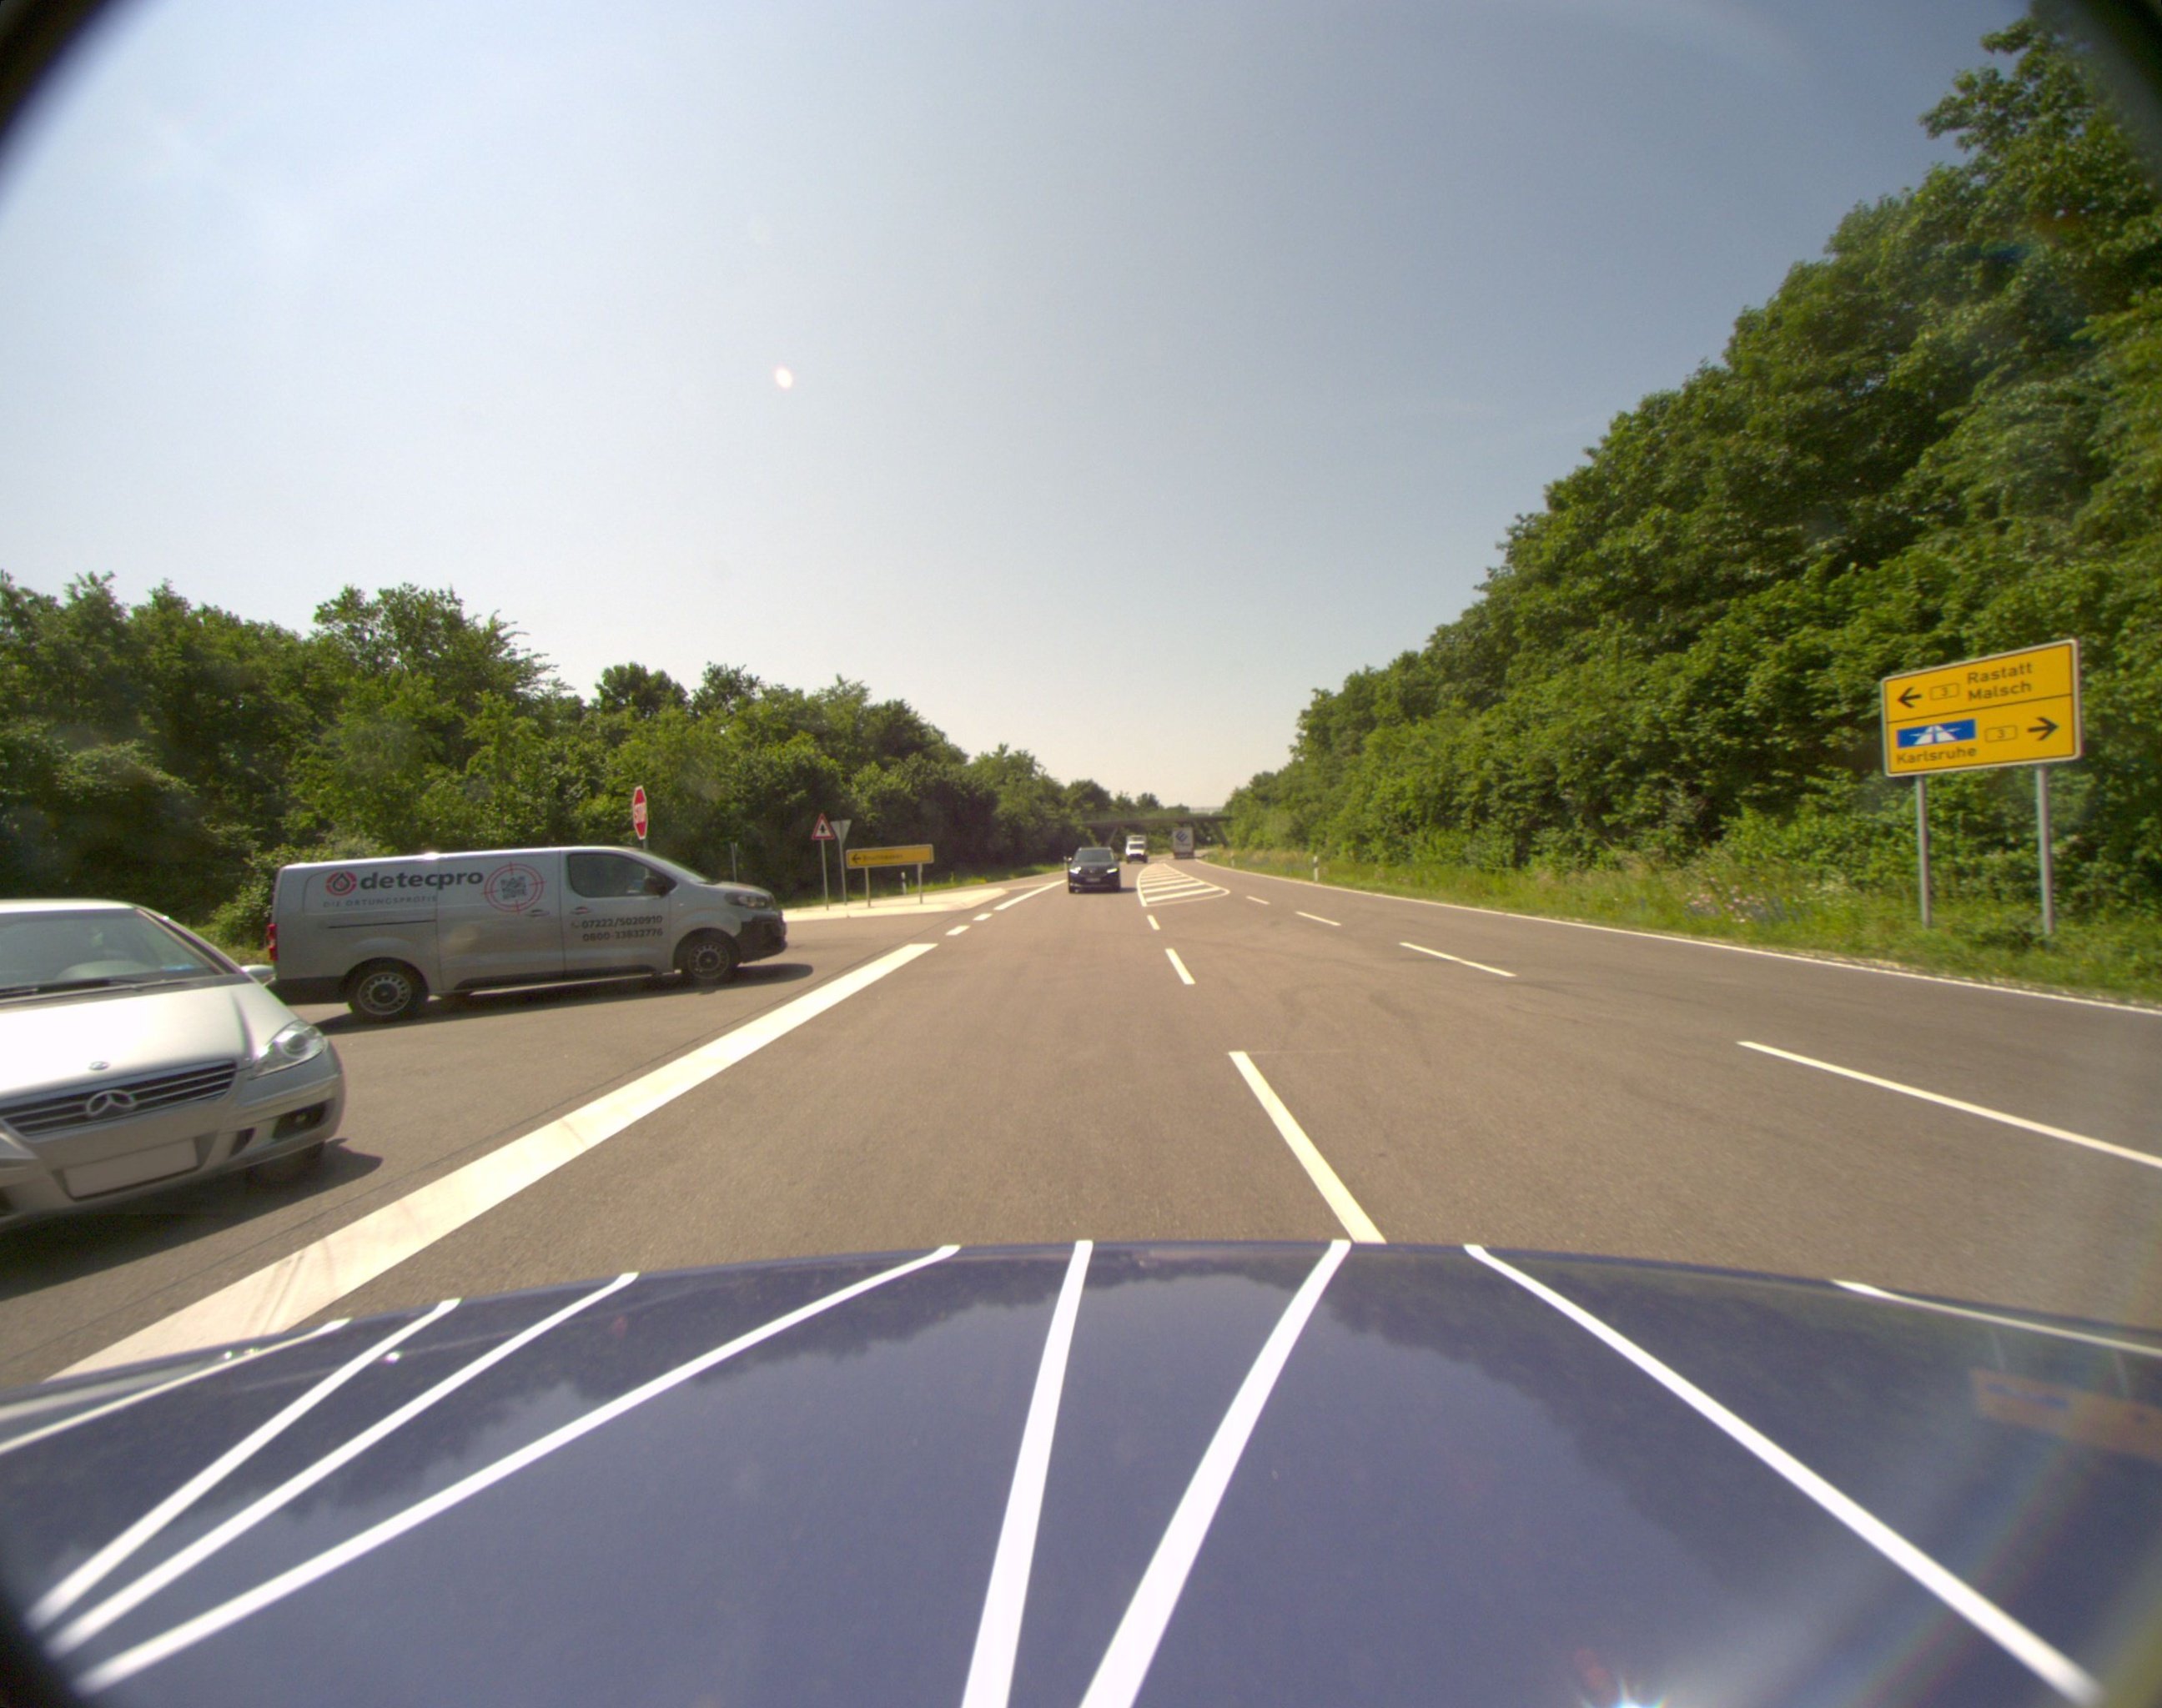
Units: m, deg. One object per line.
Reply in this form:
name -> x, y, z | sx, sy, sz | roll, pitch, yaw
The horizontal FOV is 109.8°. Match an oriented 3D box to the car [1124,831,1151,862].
car -> 6.063, -0.820, 80.706 | 2.591, 3.047, 6.883 | -2, 1, 6

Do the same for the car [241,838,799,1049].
car -> -6.510, 0.919, 9.707 | 5.233, 1.896, 2.010 | -4, 2, -18

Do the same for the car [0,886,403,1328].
car -> -5.888, 1.143, 3.968 | 3.985, 1.571, 1.847 | -4, 2, 23

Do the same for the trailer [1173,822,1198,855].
trailer -> 13.930, -1.989, 100.513 | 2.833, 4.072, 9.006 | -2, 1, 10

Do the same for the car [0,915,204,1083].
car -> -12.689, 1.699, 7.675 | 4.566, 1.466, 1.865 | -6, 2, -20

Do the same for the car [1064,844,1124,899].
car -> 0.504, 0.543, 27.764 | 1.924, 1.711, 5.478 | -2, 1, 2
